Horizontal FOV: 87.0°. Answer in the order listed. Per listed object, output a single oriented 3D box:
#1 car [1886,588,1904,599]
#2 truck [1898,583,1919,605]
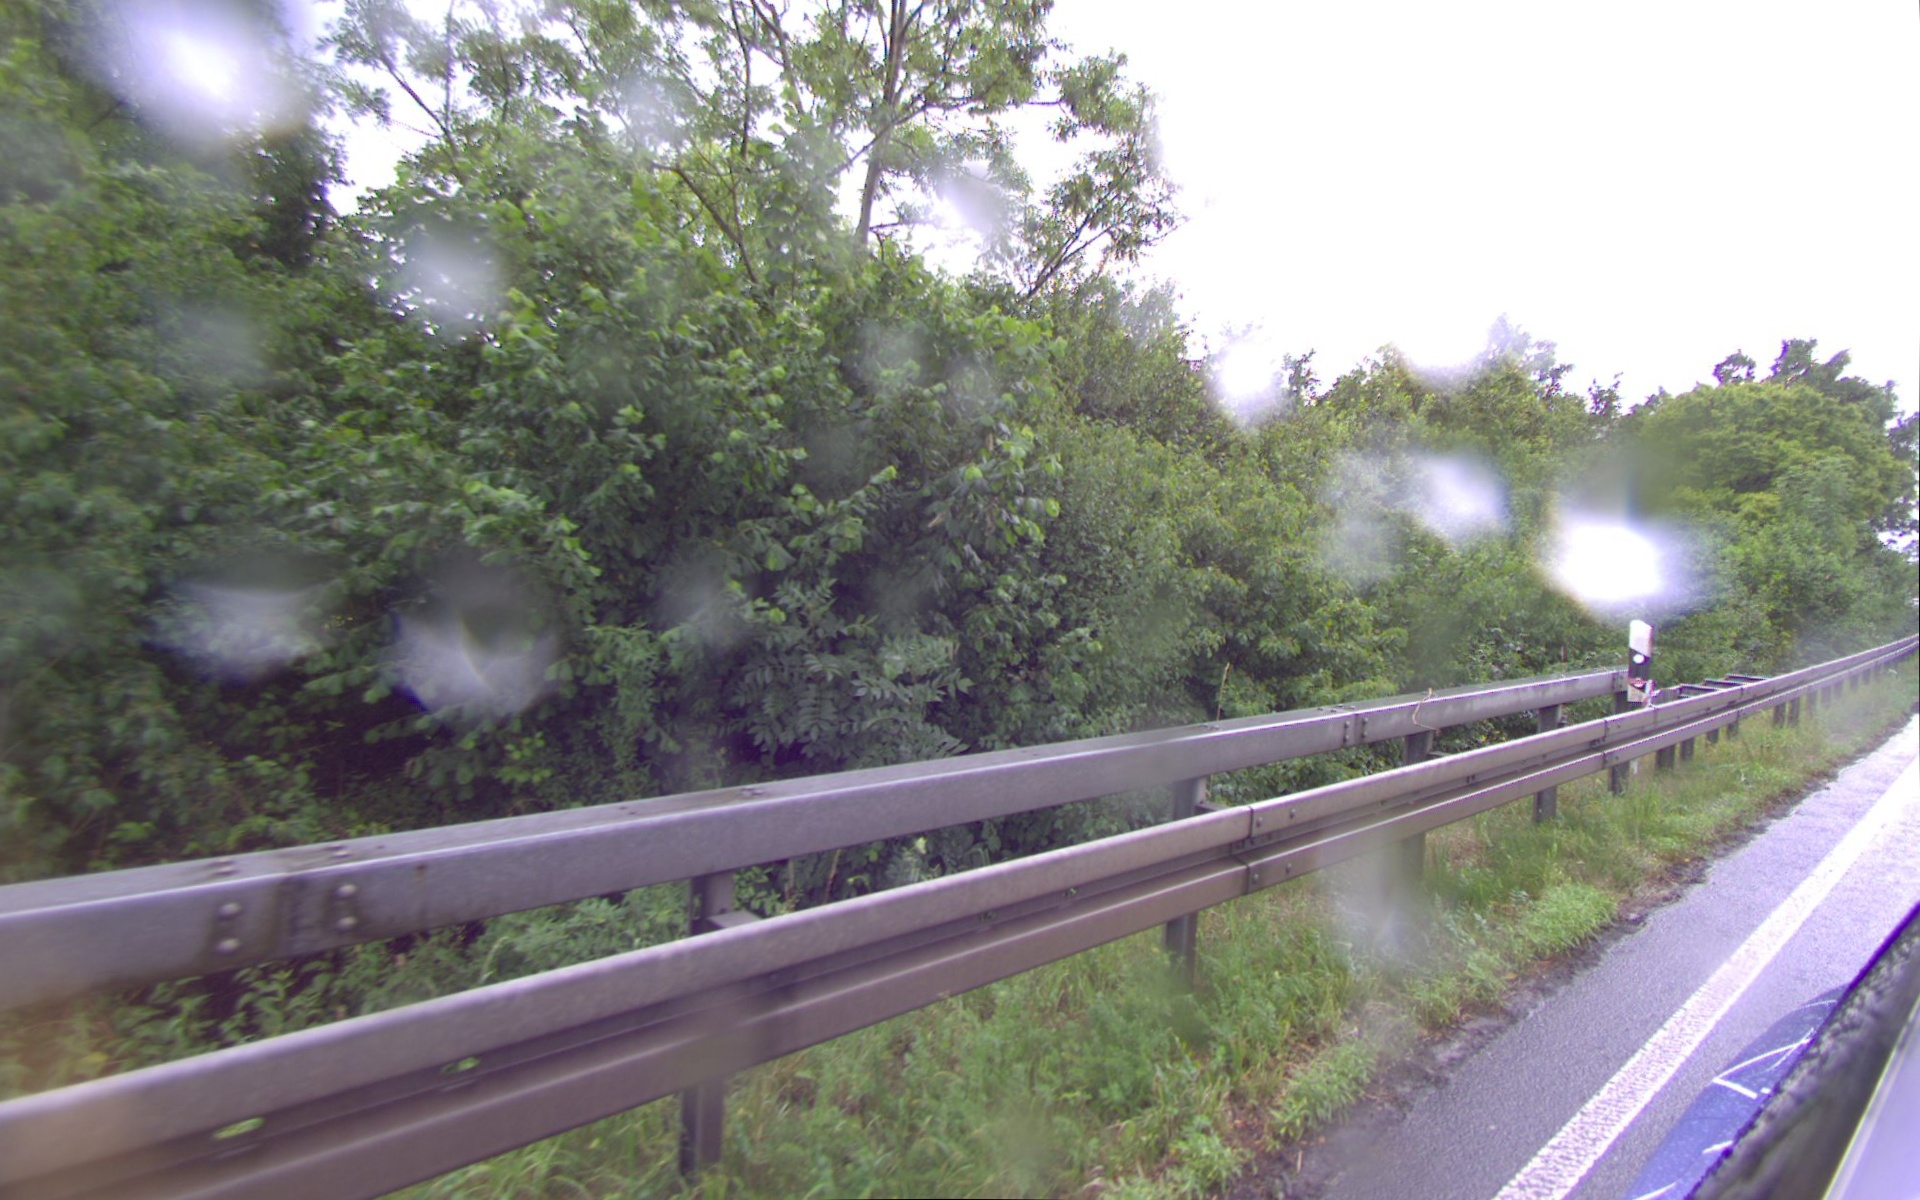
[{"bbox_3d":[131.365,-0.880,142.178,1.527,1.486,3.033,1,0,38],"label":"car"},{"bbox_3d":[125.212,-0.758,133.569,1.472,2.913,5.610,1,0,36],"label":"truck"}]
